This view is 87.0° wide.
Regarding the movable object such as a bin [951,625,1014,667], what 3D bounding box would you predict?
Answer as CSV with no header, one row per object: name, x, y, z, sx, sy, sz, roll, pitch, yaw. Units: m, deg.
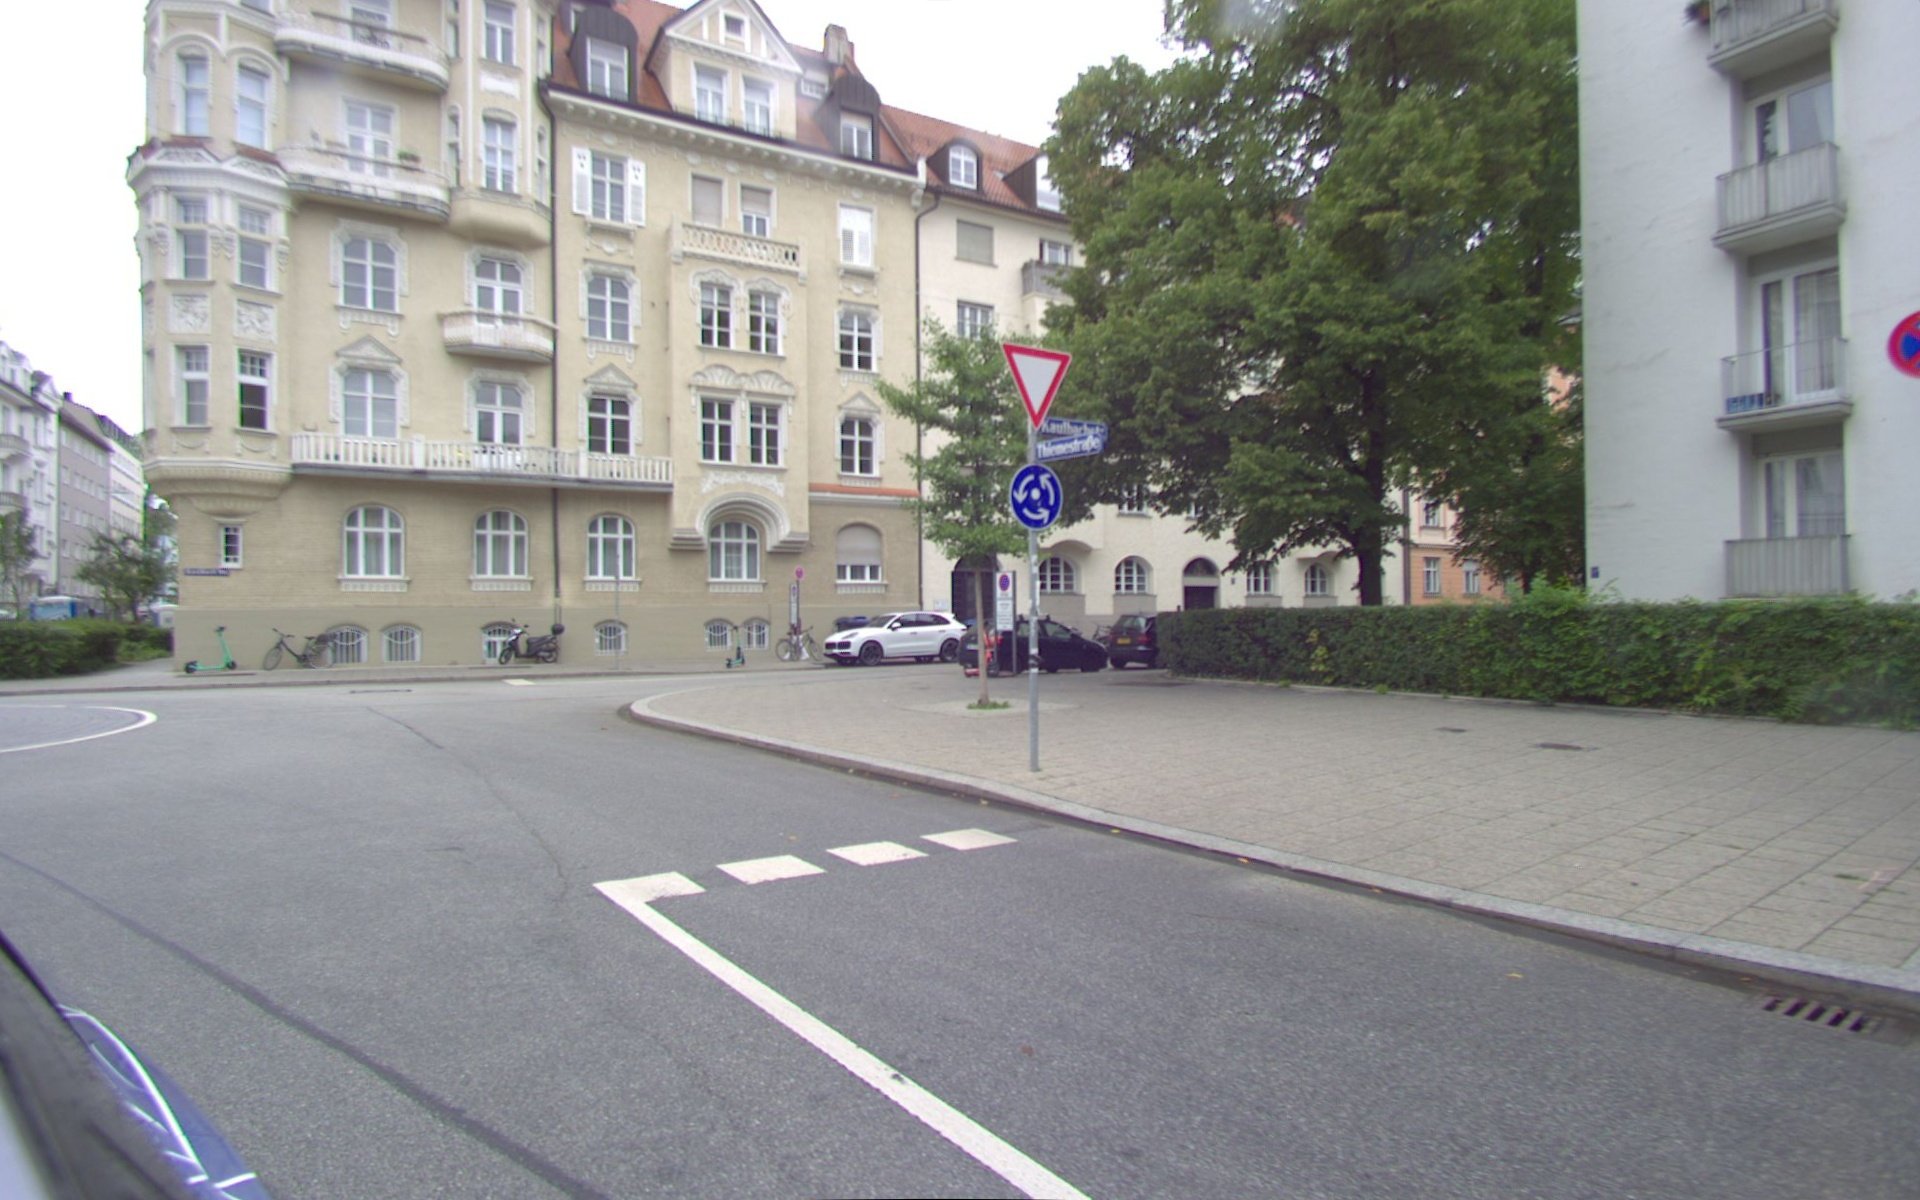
movable object such as a bin,0.738,1.551,34.704,1.845,1.383,1.569,0,0,-12

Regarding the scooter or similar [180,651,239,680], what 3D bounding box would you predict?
scooter or similar,-19.676,1.708,26.554,0.316,0.693,1.220,0,0,32

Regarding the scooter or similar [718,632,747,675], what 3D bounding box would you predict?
scooter or similar,-6.784,1.588,30.251,0.405,1.239,1.274,0,0,9

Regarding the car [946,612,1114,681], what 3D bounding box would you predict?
car,1.780,1.128,25.081,4.032,1.602,1.595,1,-3,-35

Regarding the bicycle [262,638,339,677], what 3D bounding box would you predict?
bicycle,-18.115,1.558,27.824,1.755,0.999,0.544,0,-1,-34

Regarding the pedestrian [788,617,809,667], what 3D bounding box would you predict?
pedestrian,-5.451,1.399,34.181,0.597,1.677,0.464,0,-1,-25

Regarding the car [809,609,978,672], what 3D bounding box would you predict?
car,-2.101,1.257,32.446,4.944,1.880,2.173,1,-1,-30

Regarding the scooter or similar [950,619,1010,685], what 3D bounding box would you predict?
scooter or similar,0.452,1.144,22.428,1.097,1.398,0.797,-3,-1,20

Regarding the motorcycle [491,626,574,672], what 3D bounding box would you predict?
motorcycle,-12.948,1.458,30.670,2.208,1.336,0.826,0,0,-32

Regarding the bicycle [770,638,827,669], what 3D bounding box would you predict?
bicycle,-5.246,1.722,32.868,1.780,0.964,0.469,0,0,-27

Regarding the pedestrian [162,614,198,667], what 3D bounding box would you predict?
pedestrian,-27.338,1.405,35.479,0.735,1.806,0.703,0,0,-8

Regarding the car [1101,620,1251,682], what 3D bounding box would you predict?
car,6.026,1.377,28.091,4.030,1.602,1.596,1,-1,-30
